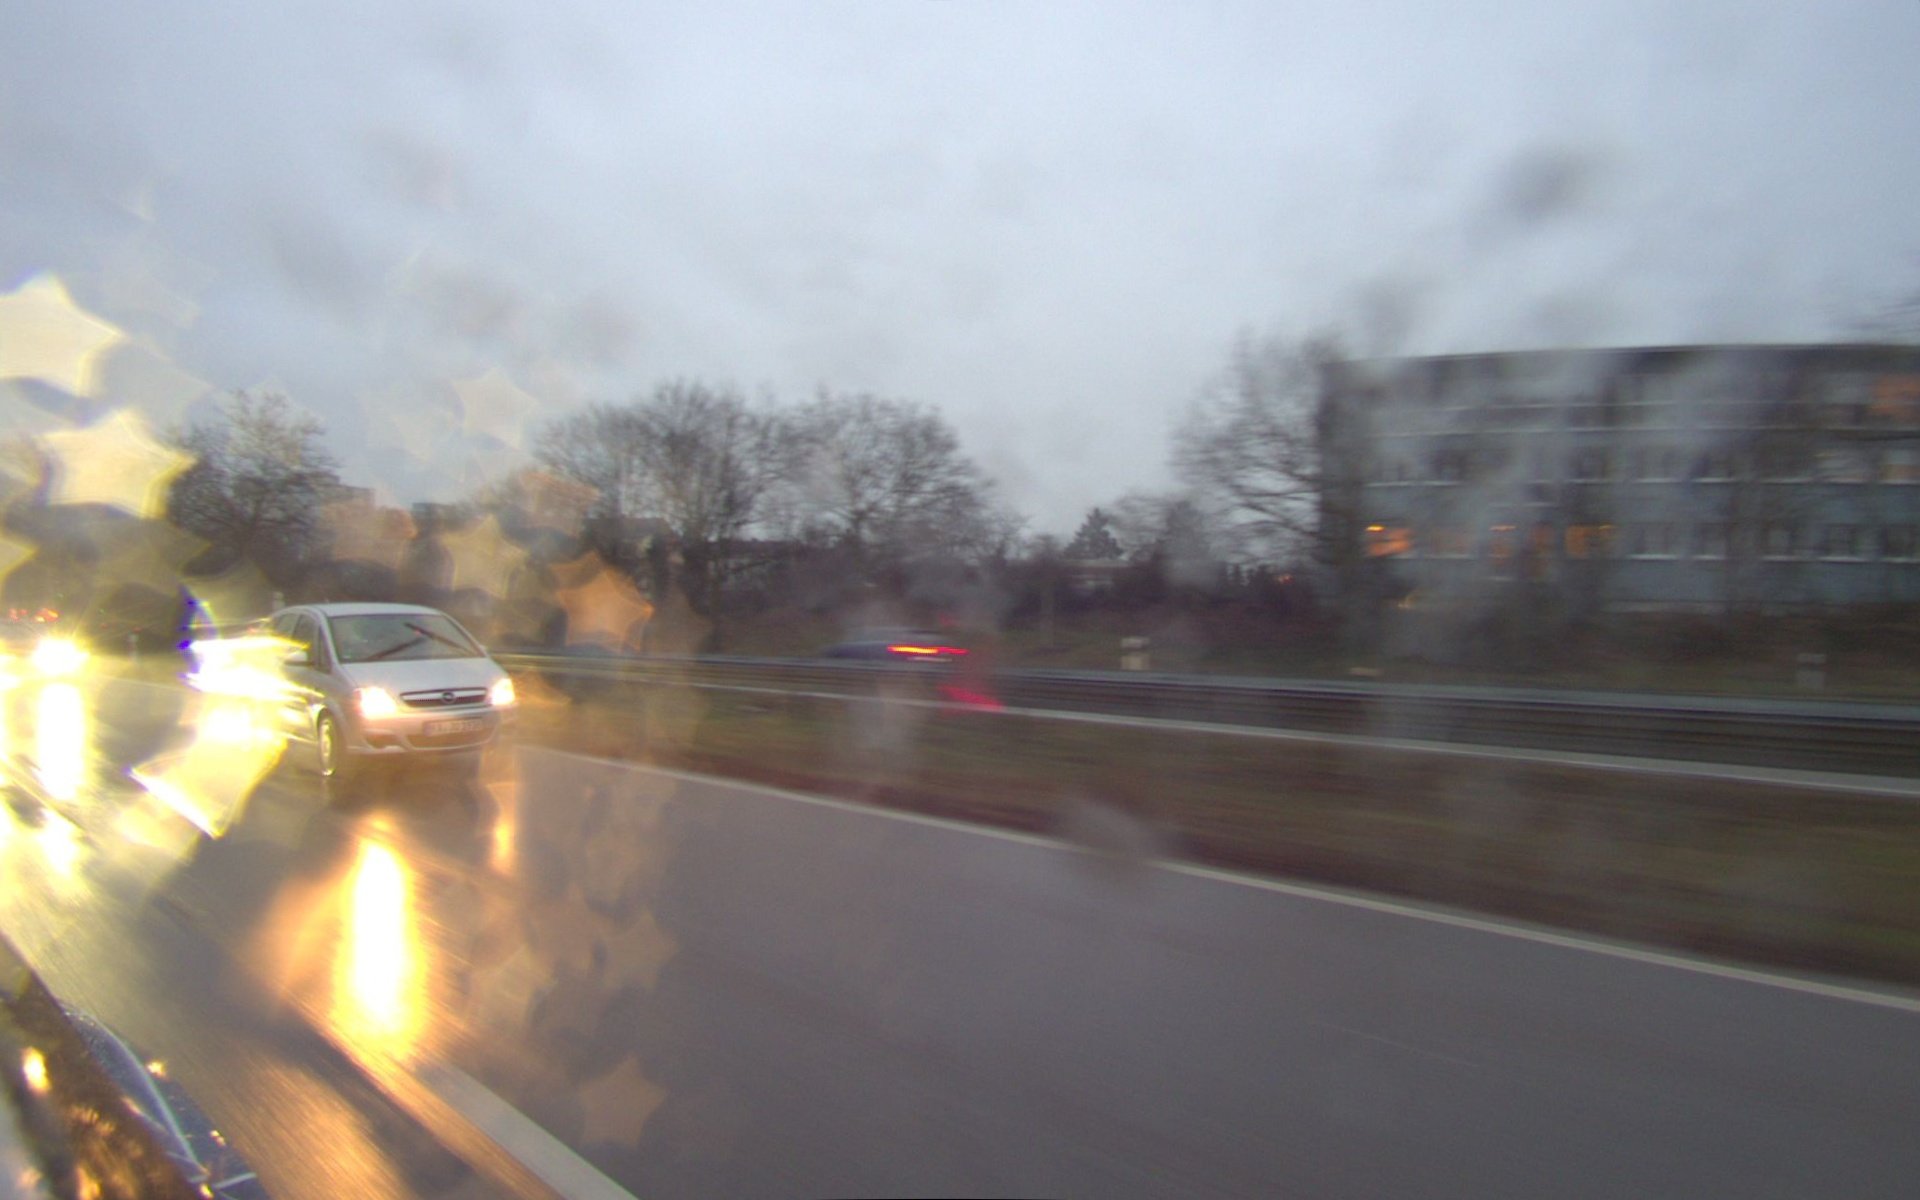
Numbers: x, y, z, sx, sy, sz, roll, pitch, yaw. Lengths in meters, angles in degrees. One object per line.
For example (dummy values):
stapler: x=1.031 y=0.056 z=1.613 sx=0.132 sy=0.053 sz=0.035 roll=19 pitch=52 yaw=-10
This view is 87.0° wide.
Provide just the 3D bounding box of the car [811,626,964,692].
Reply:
car: x=-1.941 y=1.472 z=26.320 sx=4.054 sy=1.545 sz=1.763 roll=-1 pitch=-1 yaw=44

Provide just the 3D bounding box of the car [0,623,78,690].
car: x=-23.889 y=1.368 z=25.483 sx=4.144 sy=1.542 sz=2.000 roll=-1 pitch=-1 yaw=41

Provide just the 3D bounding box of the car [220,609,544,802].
car: x=-6.126 y=0.912 z=10.518 sx=4.164 sy=1.611 sz=1.742 roll=-1 pitch=-1 yaw=42

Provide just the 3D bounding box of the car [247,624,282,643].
car: x=-61.285 y=2.955 z=89.136 sx=4.599 sy=1.577 sz=1.630 roll=-1 pitch=-1 yaw=45

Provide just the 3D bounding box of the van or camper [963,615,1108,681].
van or camper: x=2.149 y=1.354 z=29.749 sx=4.210 sy=1.797 sz=1.630 roll=-1 pitch=-1 yaw=44
